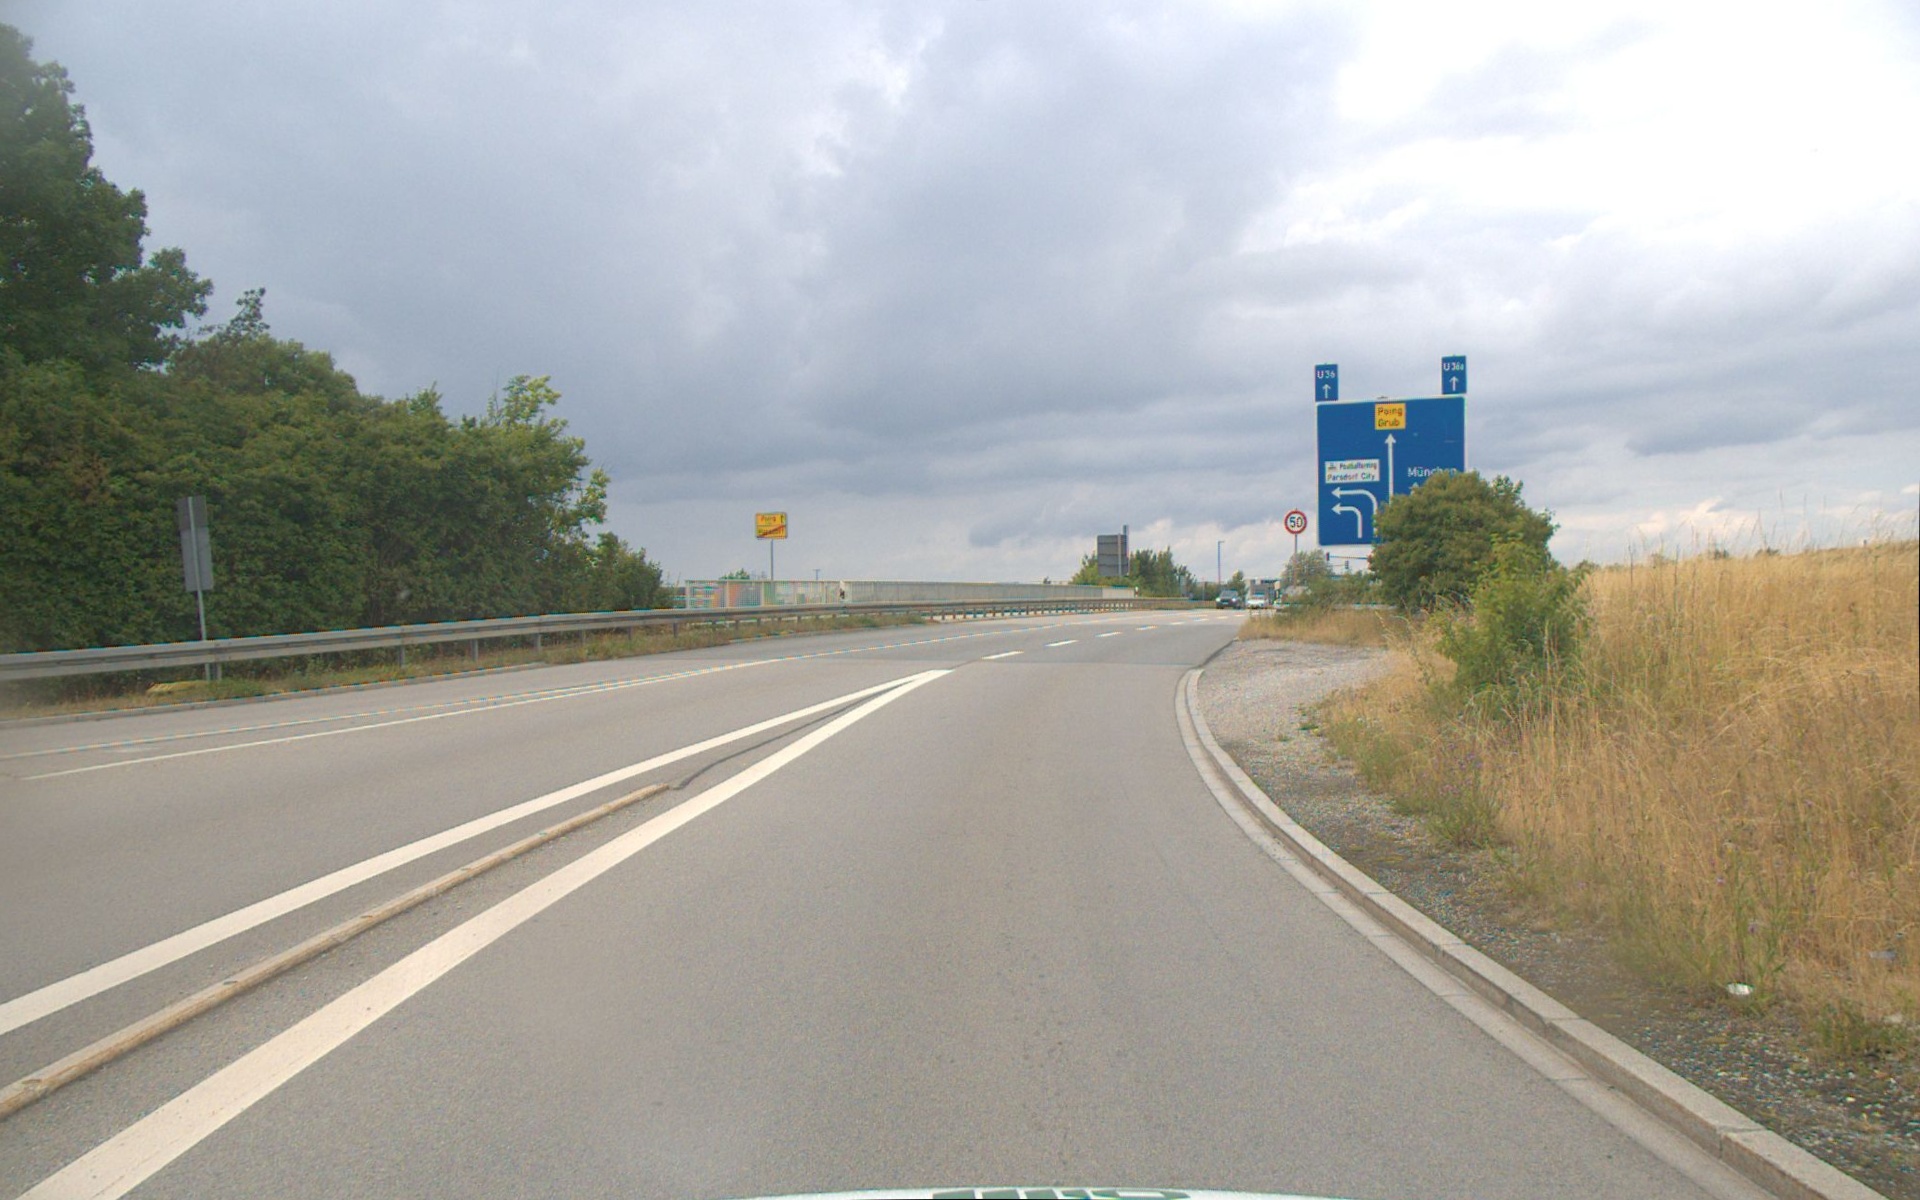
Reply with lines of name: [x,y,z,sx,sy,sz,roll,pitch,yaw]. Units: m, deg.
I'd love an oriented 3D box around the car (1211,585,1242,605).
car: [25.505,-0.475,158.158,1.953,1.761,4.763,4,1,19]

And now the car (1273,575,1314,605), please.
car: [17.103,-0.501,84.721,1.486,1.511,3.616,0,0,20]
